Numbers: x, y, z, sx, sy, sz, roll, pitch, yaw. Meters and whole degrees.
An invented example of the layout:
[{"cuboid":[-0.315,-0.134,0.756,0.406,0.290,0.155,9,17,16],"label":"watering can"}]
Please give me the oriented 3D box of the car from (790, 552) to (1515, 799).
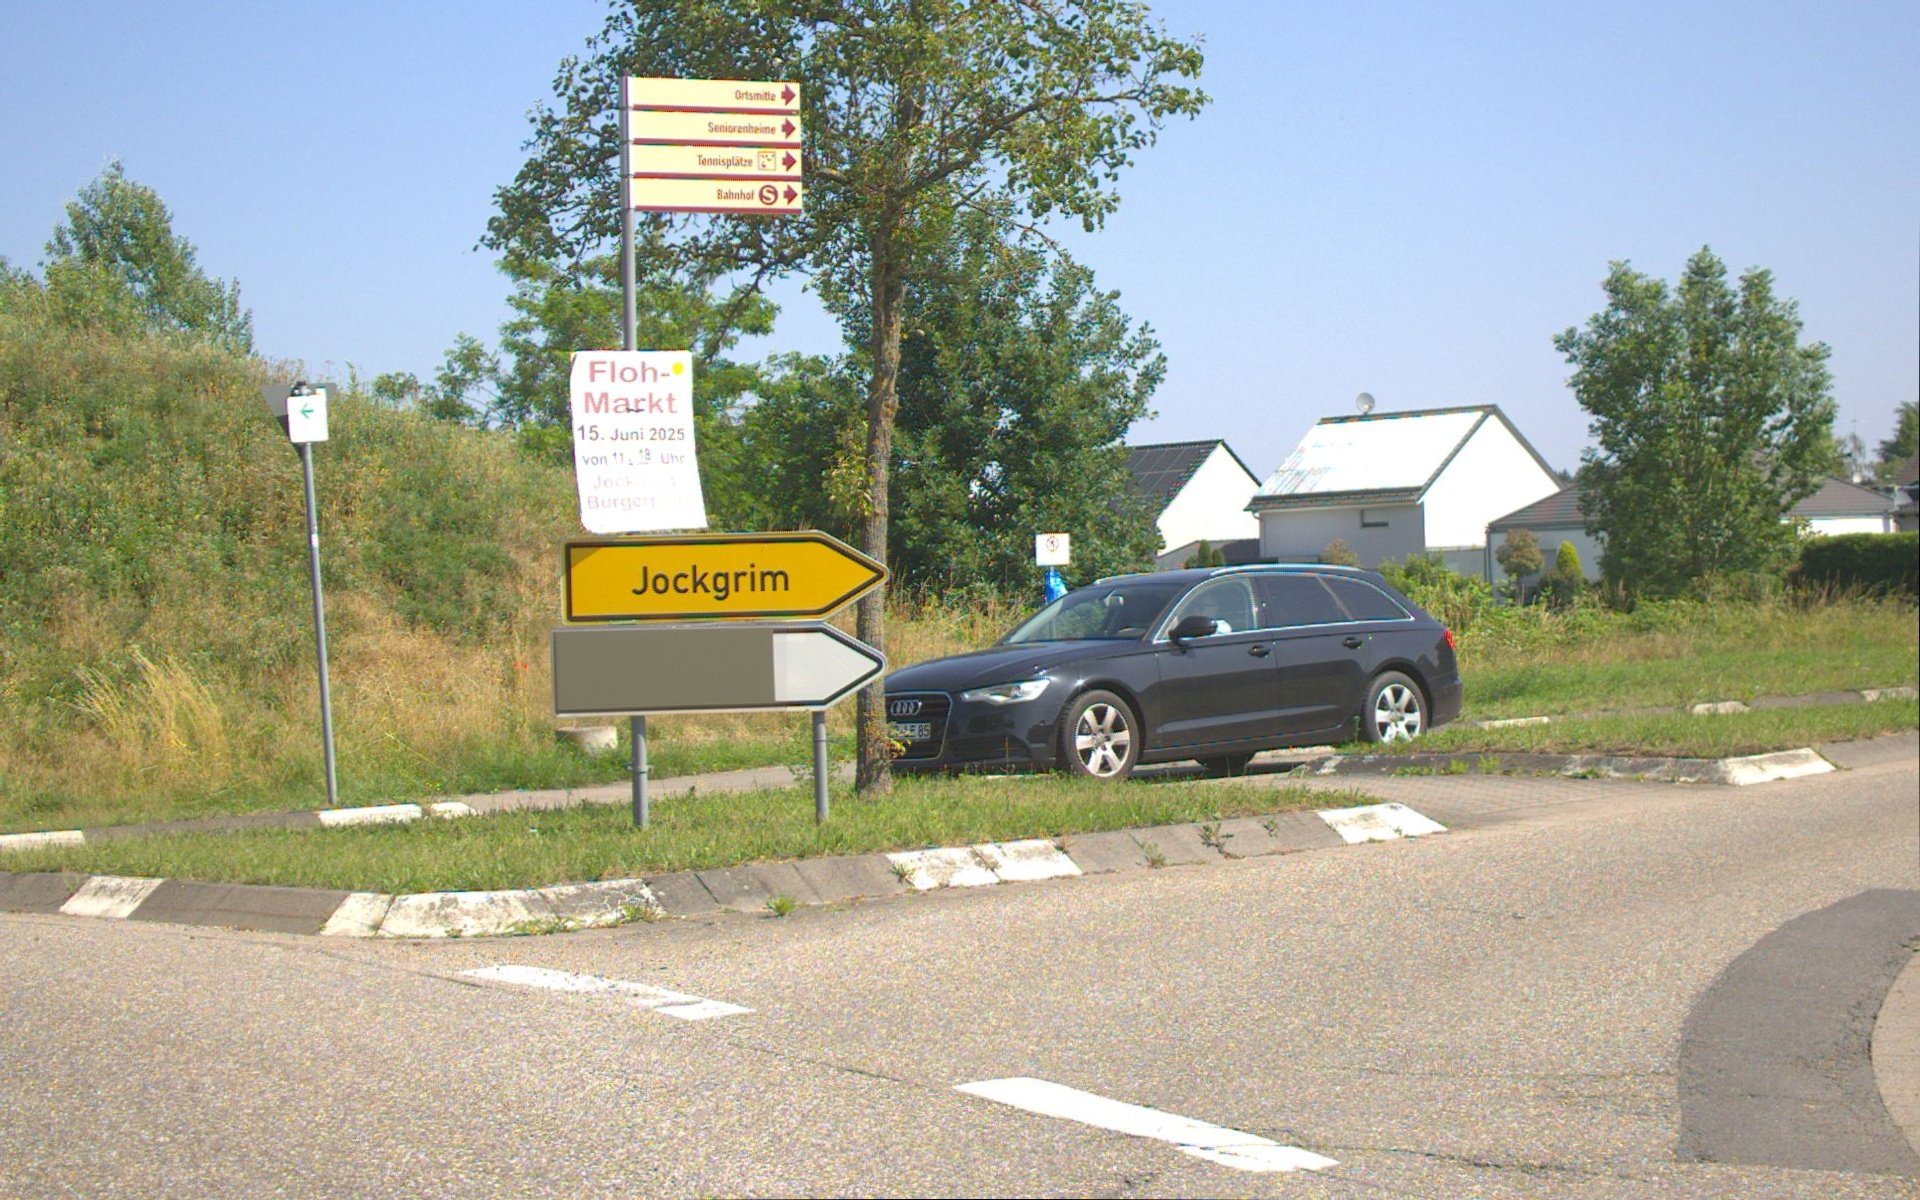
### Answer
[{"cuboid":[1.410,0.495,23.772,4.898,1.429,1.923,-2,-2,-39],"label":"car"}]
